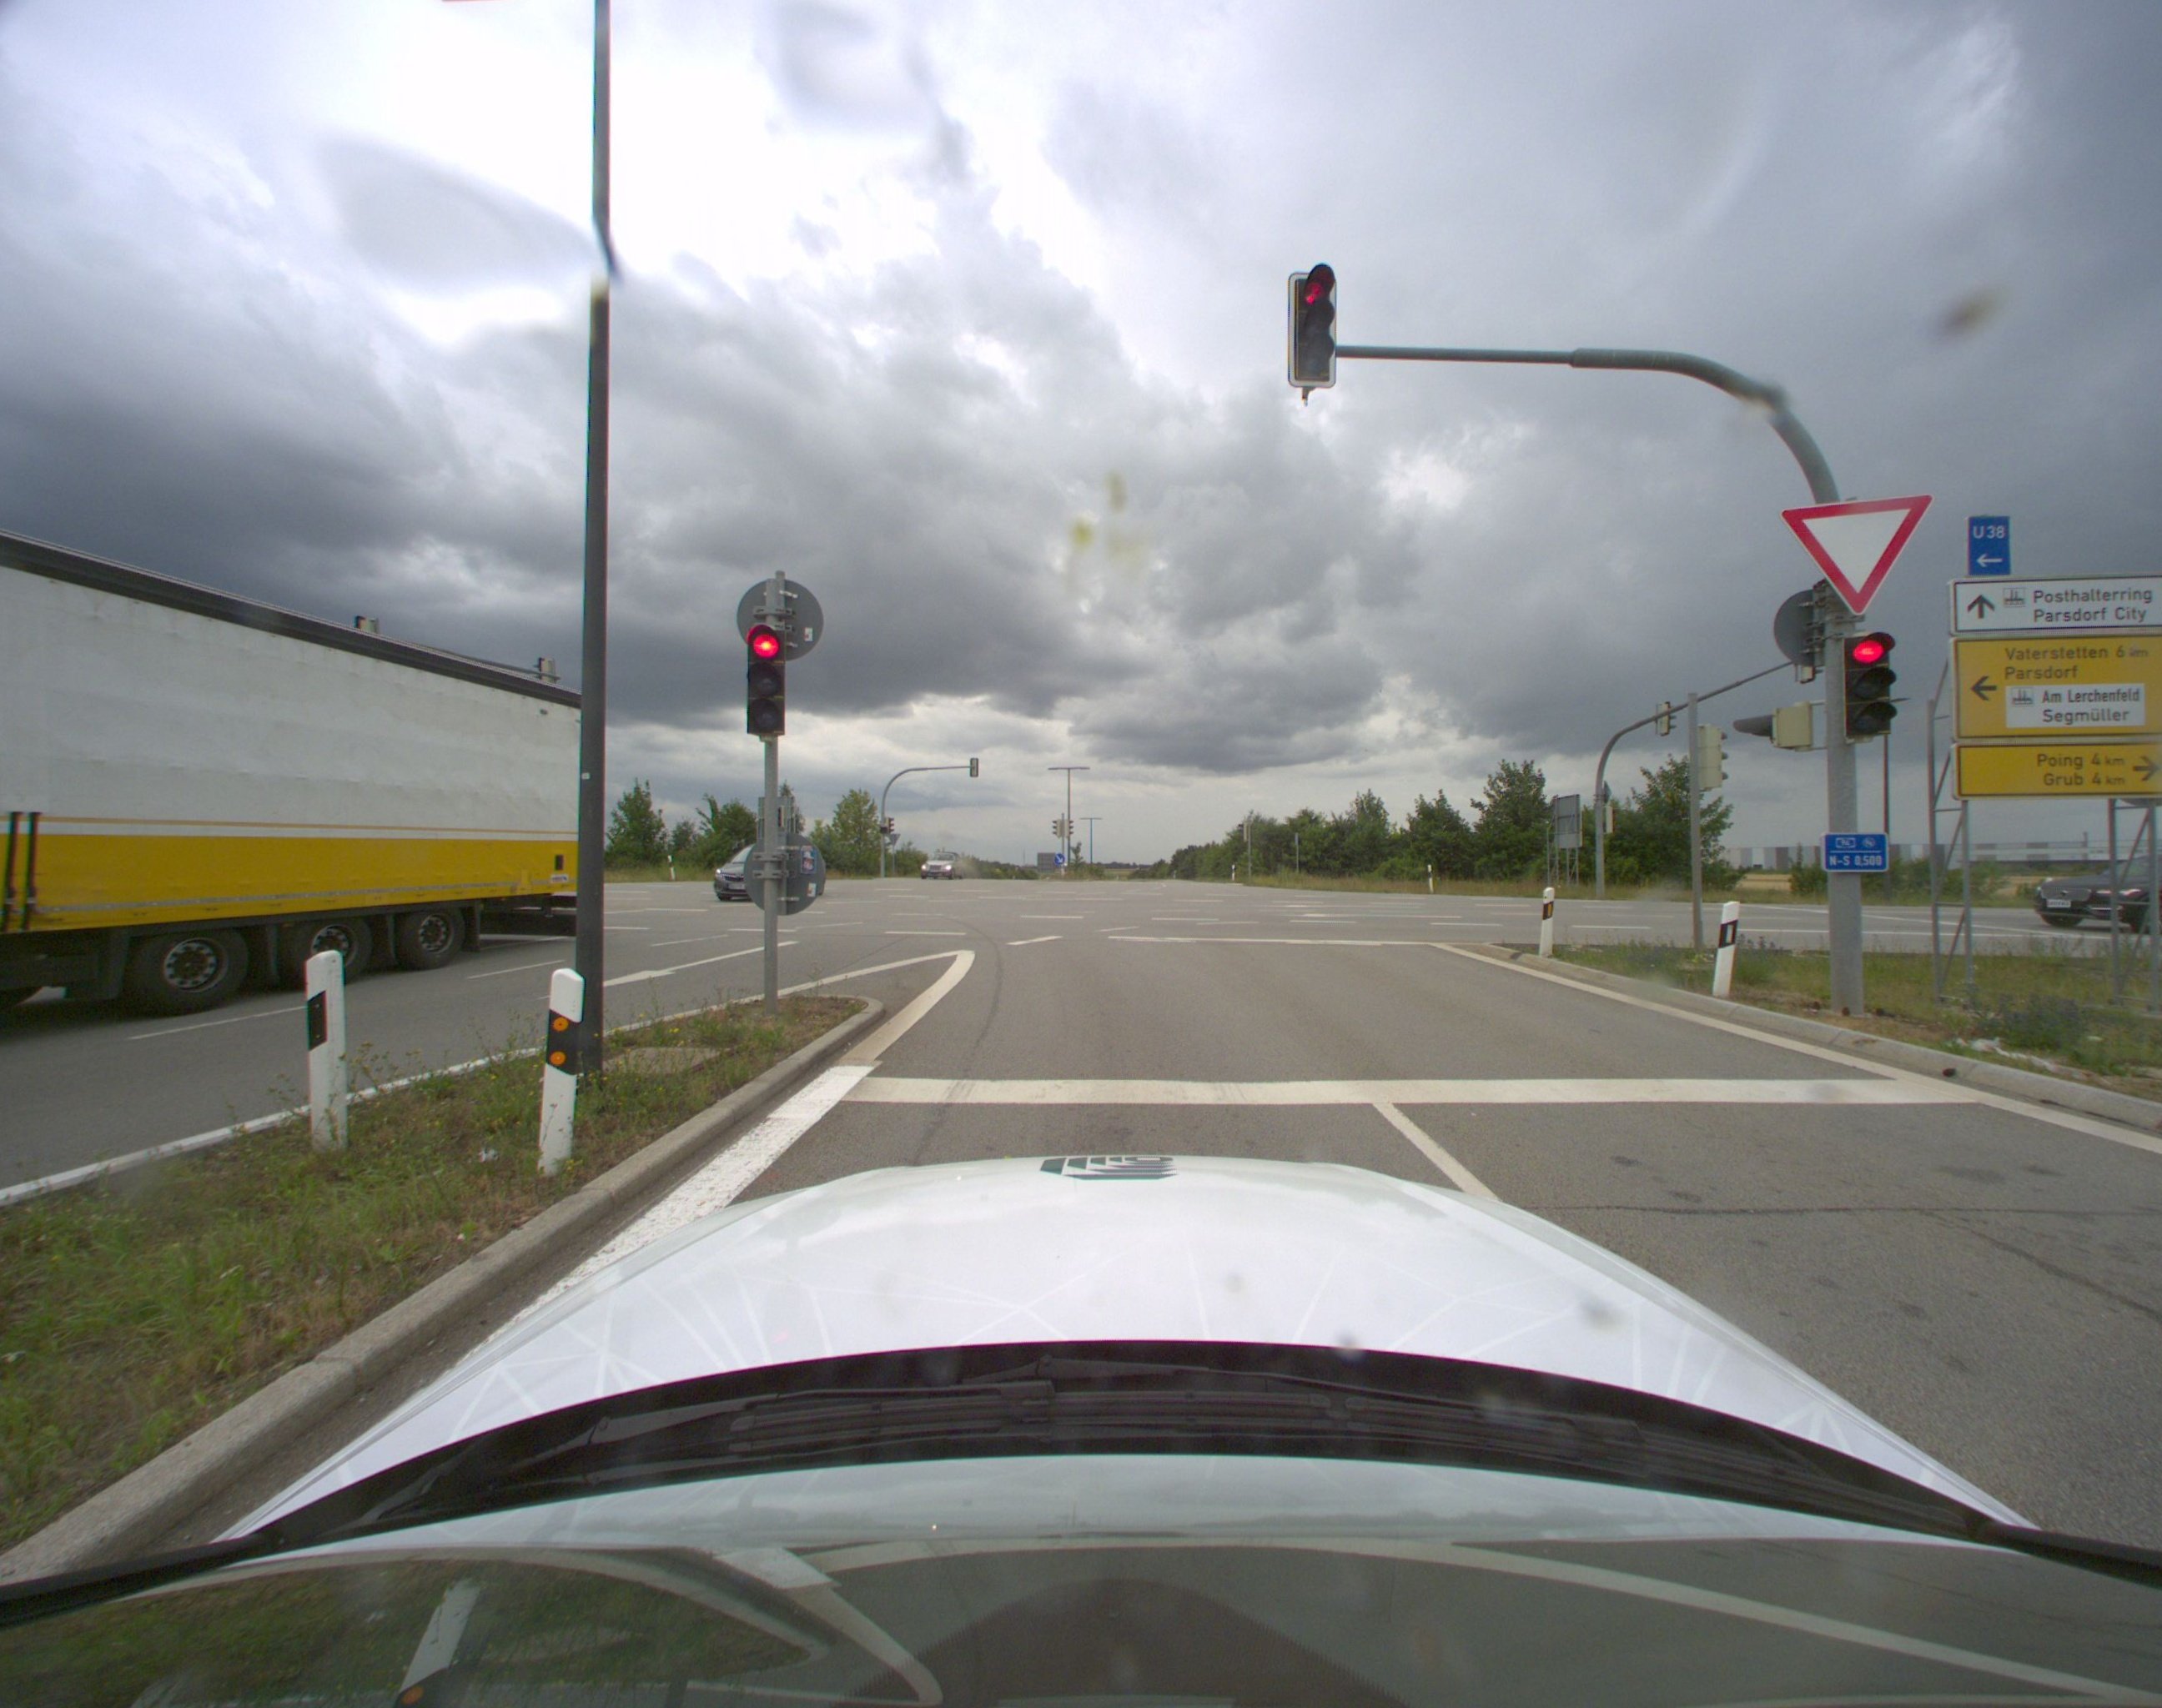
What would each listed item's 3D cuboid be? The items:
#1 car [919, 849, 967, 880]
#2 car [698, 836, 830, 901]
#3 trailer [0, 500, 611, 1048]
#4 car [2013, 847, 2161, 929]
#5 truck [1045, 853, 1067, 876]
[{"bbox_3d":[-7.489,0.528,44.527,1.803,1.520,4.244,0,1,2],"label":"car"},{"bbox_3d":[-9.079,0.405,23.767,1.986,1.694,4.457,0,-1,2],"label":"car"},{"bbox_3d":[-9.610,-0.604,6.776,2.680,4.210,13.852,0,-1,3],"label":"trailer"},{"bbox_3d":[24.098,0.727,17.668,4.951,1.684,2.006,0,0,10],"label":"car"},{"bbox_3d":[-3.965,1.742,130.695,2.858,3.408,8.653,0,-2,2],"label":"truck"}]
